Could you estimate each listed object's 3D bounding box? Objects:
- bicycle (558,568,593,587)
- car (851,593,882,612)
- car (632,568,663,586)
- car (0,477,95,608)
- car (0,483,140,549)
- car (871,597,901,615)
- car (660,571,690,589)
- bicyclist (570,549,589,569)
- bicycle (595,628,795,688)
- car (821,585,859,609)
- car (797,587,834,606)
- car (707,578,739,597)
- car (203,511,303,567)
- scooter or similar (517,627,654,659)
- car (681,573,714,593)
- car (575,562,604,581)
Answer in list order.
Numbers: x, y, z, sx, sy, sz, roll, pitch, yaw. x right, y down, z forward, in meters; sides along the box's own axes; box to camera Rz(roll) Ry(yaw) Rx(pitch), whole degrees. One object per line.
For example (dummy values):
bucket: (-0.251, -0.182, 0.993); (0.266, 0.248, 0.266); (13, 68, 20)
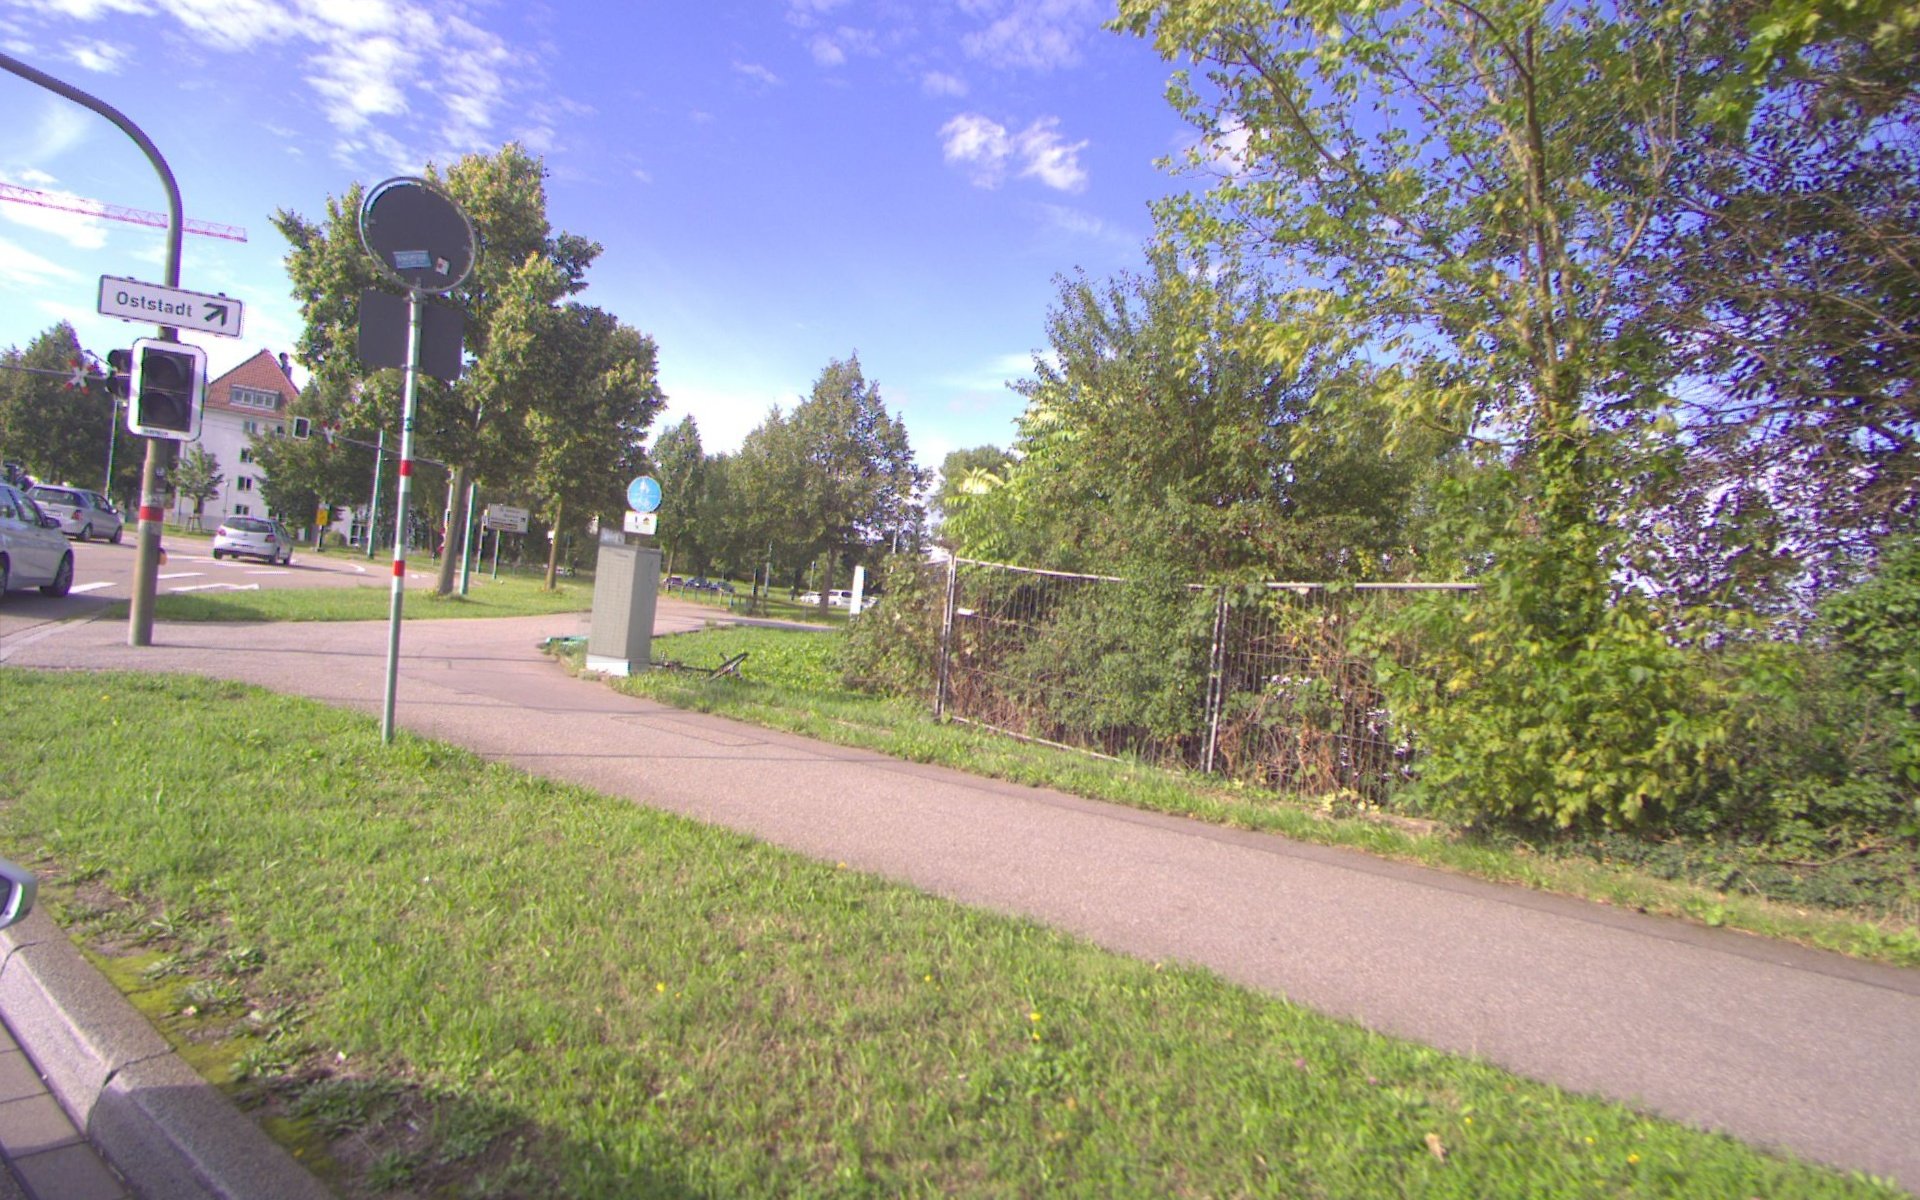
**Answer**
bicycle: (-29.063, -1.702, 76.130); (0.702, 1.237, 2.523); (7, 0, 31)
car: (-9.797, 0.264, 105.037); (2.073, 1.695, 4.450); (6, 0, -20)
car: (-29.310, -2.163, 94.224); (1.839, 1.375, 4.801); (6, 0, -27)
car: (-13.264, -0.863, 13.247); (1.836, 1.591, 4.422); (8, -1, -29)
car: (-27.024, -2.484, 30.692); (1.833, 1.495, 4.431); (8, -1, -23)
car: (-7.866, 0.586, 106.058); (2.007, 1.534, 4.094); (6, 0, -20)
car: (-27.050, -1.885, 95.333); (1.839, 1.379, 4.439); (6, 0, -27)
bicyclist: (-28.743, -3.116, 75.985); (0.702, 1.372, 1.003); (7, 1, 31)
bicycle: (-3.258, 0.712, 12.598); (2.210, 0.350, 1.090); (10, -1, -3)
car: (-12.376, -0.296, 103.503); (2.287, 2.032, 5.083); (6, 0, -24)
car: (-14.664, -0.347, 101.923); (1.844, 1.534, 4.427); (6, 0, -35)
car: (-23.011, -1.253, 97.650); (1.839, 1.534, 4.439); (6, 0, -27)
car: (-22.814, -1.923, 32.636); (1.834, 1.443, 4.427); (8, -1, -26)
scooter or similar: (-5.392, 0.609, 14.597); (1.268, 0.284, 1.554); (7, 0, 7)
car: (-25.128, -1.633, 96.195); (1.839, 1.534, 4.911); (6, 0, -27)
car: (-33.641, -2.598, 91.261); (1.839, 1.376, 4.701); (6, 0, -27)
